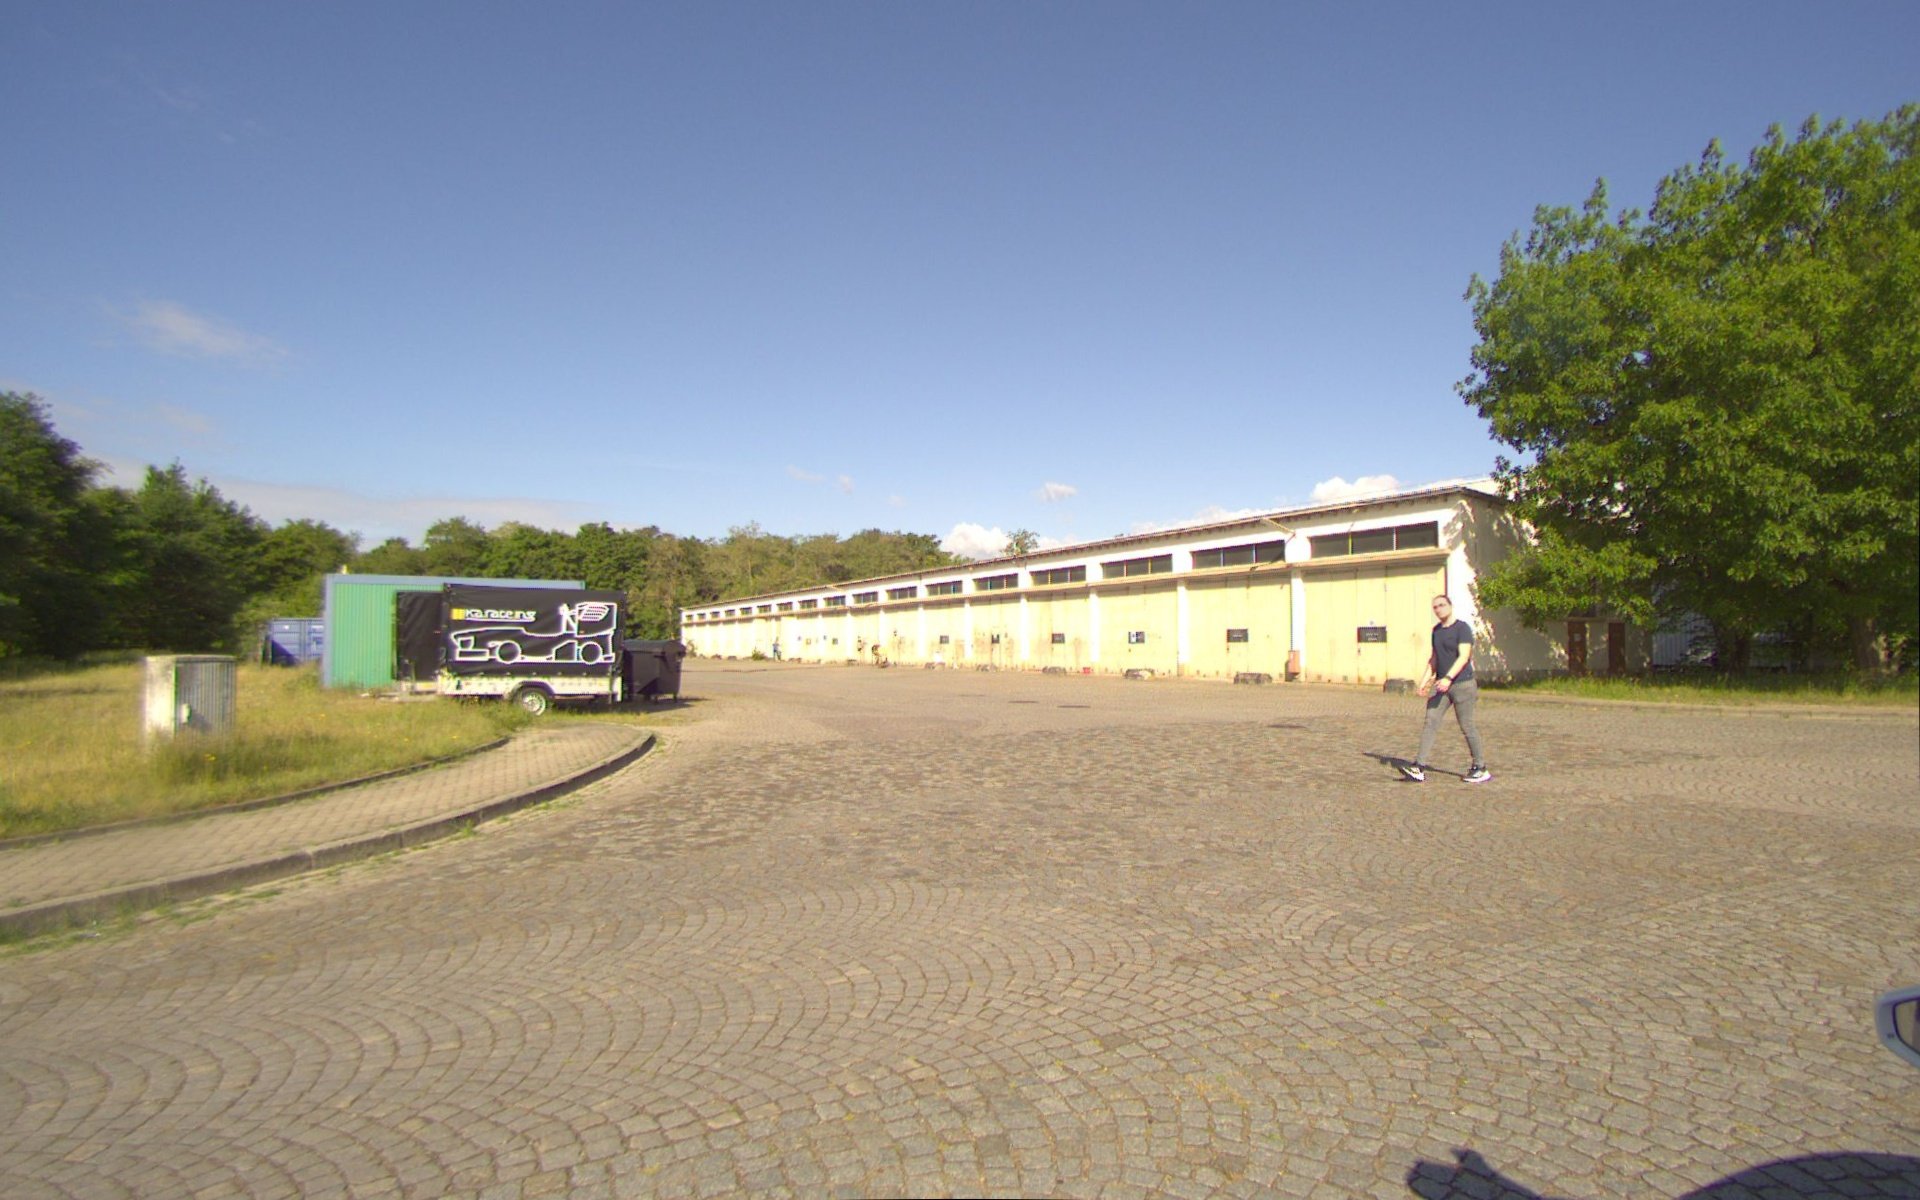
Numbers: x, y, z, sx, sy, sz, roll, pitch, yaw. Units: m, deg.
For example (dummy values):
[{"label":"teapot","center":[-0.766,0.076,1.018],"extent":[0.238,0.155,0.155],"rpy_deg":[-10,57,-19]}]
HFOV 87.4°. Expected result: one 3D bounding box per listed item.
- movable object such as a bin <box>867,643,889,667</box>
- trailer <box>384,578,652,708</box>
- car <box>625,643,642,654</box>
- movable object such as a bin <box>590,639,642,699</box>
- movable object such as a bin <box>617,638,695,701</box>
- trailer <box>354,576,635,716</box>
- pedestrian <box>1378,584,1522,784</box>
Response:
[{"label":"movable object such as a bin","center":[-4.822,3.230,59.117],"extent":[0.817,1.349,1.269],"rpy_deg":[1,-3,-33]},{"label":"trailer","center":[-9.135,0.941,20.932],"extent":[4.805,2.422,1.925],"rpy_deg":[3,-4,-34]},{"label":"car","center":[-43.142,6.368,132.682],"extent":[1.970,1.438,3.982],"rpy_deg":[1,-3,-21]},{"label":"movable object such as a bin","center":[-8.361,1.668,24.396],"extent":[1.069,1.404,1.361],"rpy_deg":[1,-3,-25]},{"label":"movable object such as a bin","center":[-6.992,1.586,23.132],"extent":[1.337,1.404,1.048],"rpy_deg":[-1,-2,19]},{"label":"trailer","center":[-8.467,0.887,18.491],"extent":[4.413,2.302,2.000],"rpy_deg":[3,-3,-29]},{"label":"pedestrian","center":[5.055,0.845,10.383],"extent":[1.128,1.939,0.795],"rpy_deg":[1,-3,-28]}]
